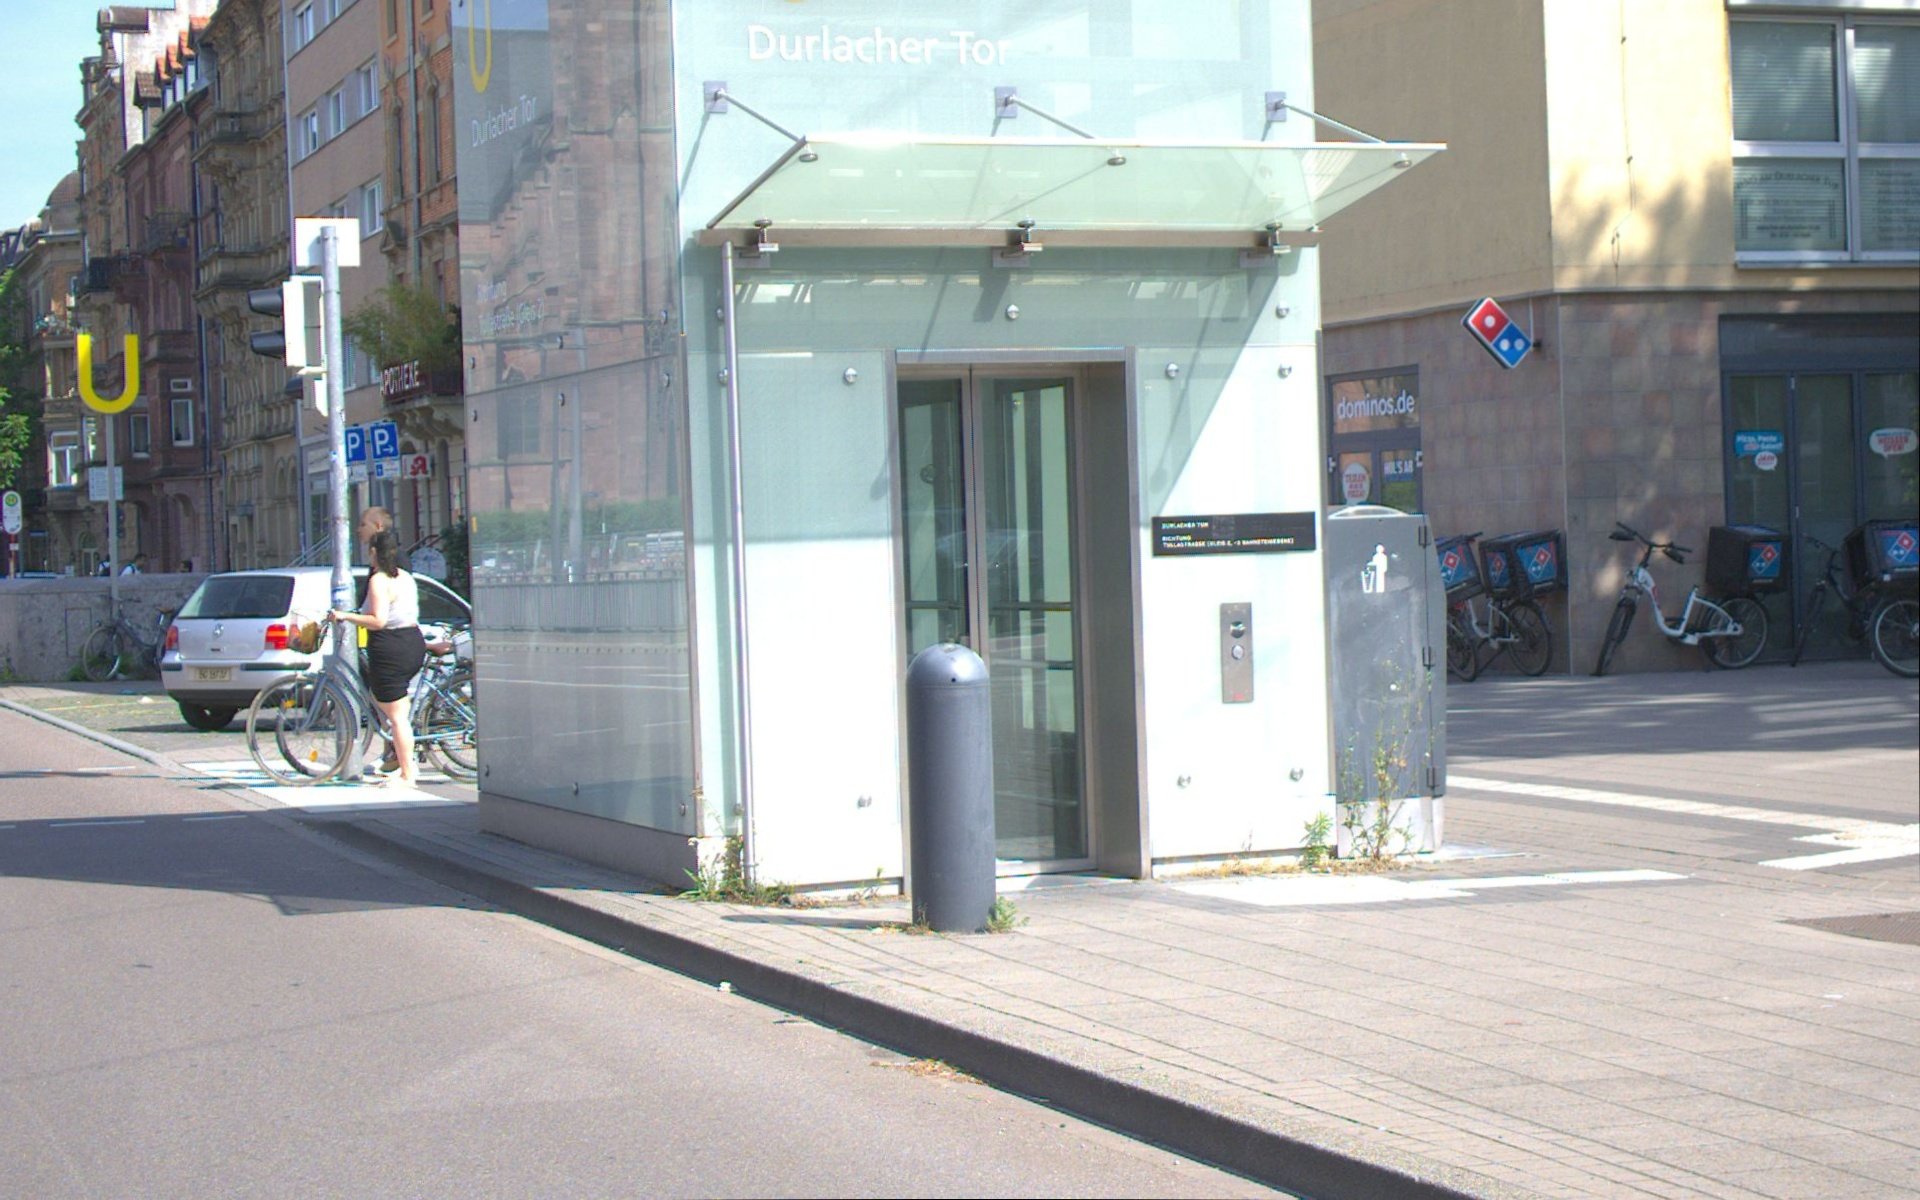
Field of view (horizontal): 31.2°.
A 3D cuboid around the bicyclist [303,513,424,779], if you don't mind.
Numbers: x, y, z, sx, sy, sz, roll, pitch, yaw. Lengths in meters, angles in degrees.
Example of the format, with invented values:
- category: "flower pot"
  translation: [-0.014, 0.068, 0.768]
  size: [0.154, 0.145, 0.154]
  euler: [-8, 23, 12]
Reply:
- category: "bicyclist"
  translation: [-3.966, 0.299, 22.853]
  size: [0.615, 1.729, 0.584]
  euler: [-1, 0, -26]

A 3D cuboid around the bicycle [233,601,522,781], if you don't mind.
- category: "bicycle"
  translation: [-3.897, 0.596, 23.024]
  size: [1.791, 1.126, 0.584]
  euler: [-2, 0, -26]

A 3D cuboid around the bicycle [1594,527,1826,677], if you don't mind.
- category: "bicycle"
  translation: [6.393, 0.007, 29.297]
  size: [1.883, 1.182, 0.541]
  euler: [-2, 1, -18]

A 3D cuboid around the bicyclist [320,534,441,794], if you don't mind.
- category: "bicyclist"
  translation: [-3.572, 0.387, 21.234]
  size: [0.611, 1.567, 0.733]
  euler: [-1, 0, -2]

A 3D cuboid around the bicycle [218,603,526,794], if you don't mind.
- category: "bicycle"
  translation: [-3.660, 0.607, 21.519]
  size: [1.791, 1.126, 0.754]
  euler: [-1, 0, -2]

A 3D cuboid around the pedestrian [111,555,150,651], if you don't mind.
- category: "pedestrian"
  translation: [-14.545, 0.044, 60.278]
  size: [0.552, 1.660, 0.525]
  euler: [-2, 1, -20]

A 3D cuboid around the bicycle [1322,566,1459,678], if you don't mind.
- category: "bicycle"
  translation: [3.902, 0.186, 31.248]
  size: [0.582, 0.962, 1.757]
  euler: [-3, 1, -15]

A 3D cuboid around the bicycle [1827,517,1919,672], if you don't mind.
- category: "bicycle"
  translation: [7.887, -0.043, 27.501]
  size: [1.750, 1.215, 0.584]
  euler: [0, 0, -9]

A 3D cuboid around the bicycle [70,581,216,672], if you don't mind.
- category: "bicycle"
  translation: [-10.499, 0.333, 44.186]
  size: [1.742, 1.090, 0.597]
  euler: [-2, 2, -20]

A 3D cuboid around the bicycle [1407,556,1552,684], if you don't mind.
- category: "bicycle"
  translation: [4.465, 0.158, 29.671]
  size: [0.582, 1.039, 1.757]
  euler: [-3, 1, -13]

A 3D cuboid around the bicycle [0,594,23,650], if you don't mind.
- category: "bicycle"
  translation: [-17.811, 0.418, 62.438]
  size: [1.460, 0.972, 0.416]
  euler: [-2, 3, -20]

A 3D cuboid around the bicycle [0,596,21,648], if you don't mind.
- category: "bicycle"
  translation: [-17.958, 0.427, 62.860]
  size: [1.460, 0.943, 0.415]
  euler: [-2, 0, -20]

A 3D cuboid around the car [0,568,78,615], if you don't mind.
- category: "car"
  translation: [-38.054, -0.345, 140.003]
  size: [3.986, 1.743, 2.001]
  euler: [-2, 3, -18]

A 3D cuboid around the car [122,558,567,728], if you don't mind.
- category: "car"
  translation: [-5.523, 0.364, 31.310]
  size: [1.811, 1.435, 3.993]
  euler: [0, 0, 31]

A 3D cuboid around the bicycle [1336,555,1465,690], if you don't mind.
- category: "bicycle"
  translation: [3.798, 0.178, 29.763]
  size: [0.582, 1.082, 1.757]
  euler: [-5, 1, -8]

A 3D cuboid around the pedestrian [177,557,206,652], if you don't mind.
- category: "pedestrian"
  translation: [-13.521, 0.081, 60.472]
  size: [0.371, 1.660, 0.525]
  euler: [-2, 1, -20]
